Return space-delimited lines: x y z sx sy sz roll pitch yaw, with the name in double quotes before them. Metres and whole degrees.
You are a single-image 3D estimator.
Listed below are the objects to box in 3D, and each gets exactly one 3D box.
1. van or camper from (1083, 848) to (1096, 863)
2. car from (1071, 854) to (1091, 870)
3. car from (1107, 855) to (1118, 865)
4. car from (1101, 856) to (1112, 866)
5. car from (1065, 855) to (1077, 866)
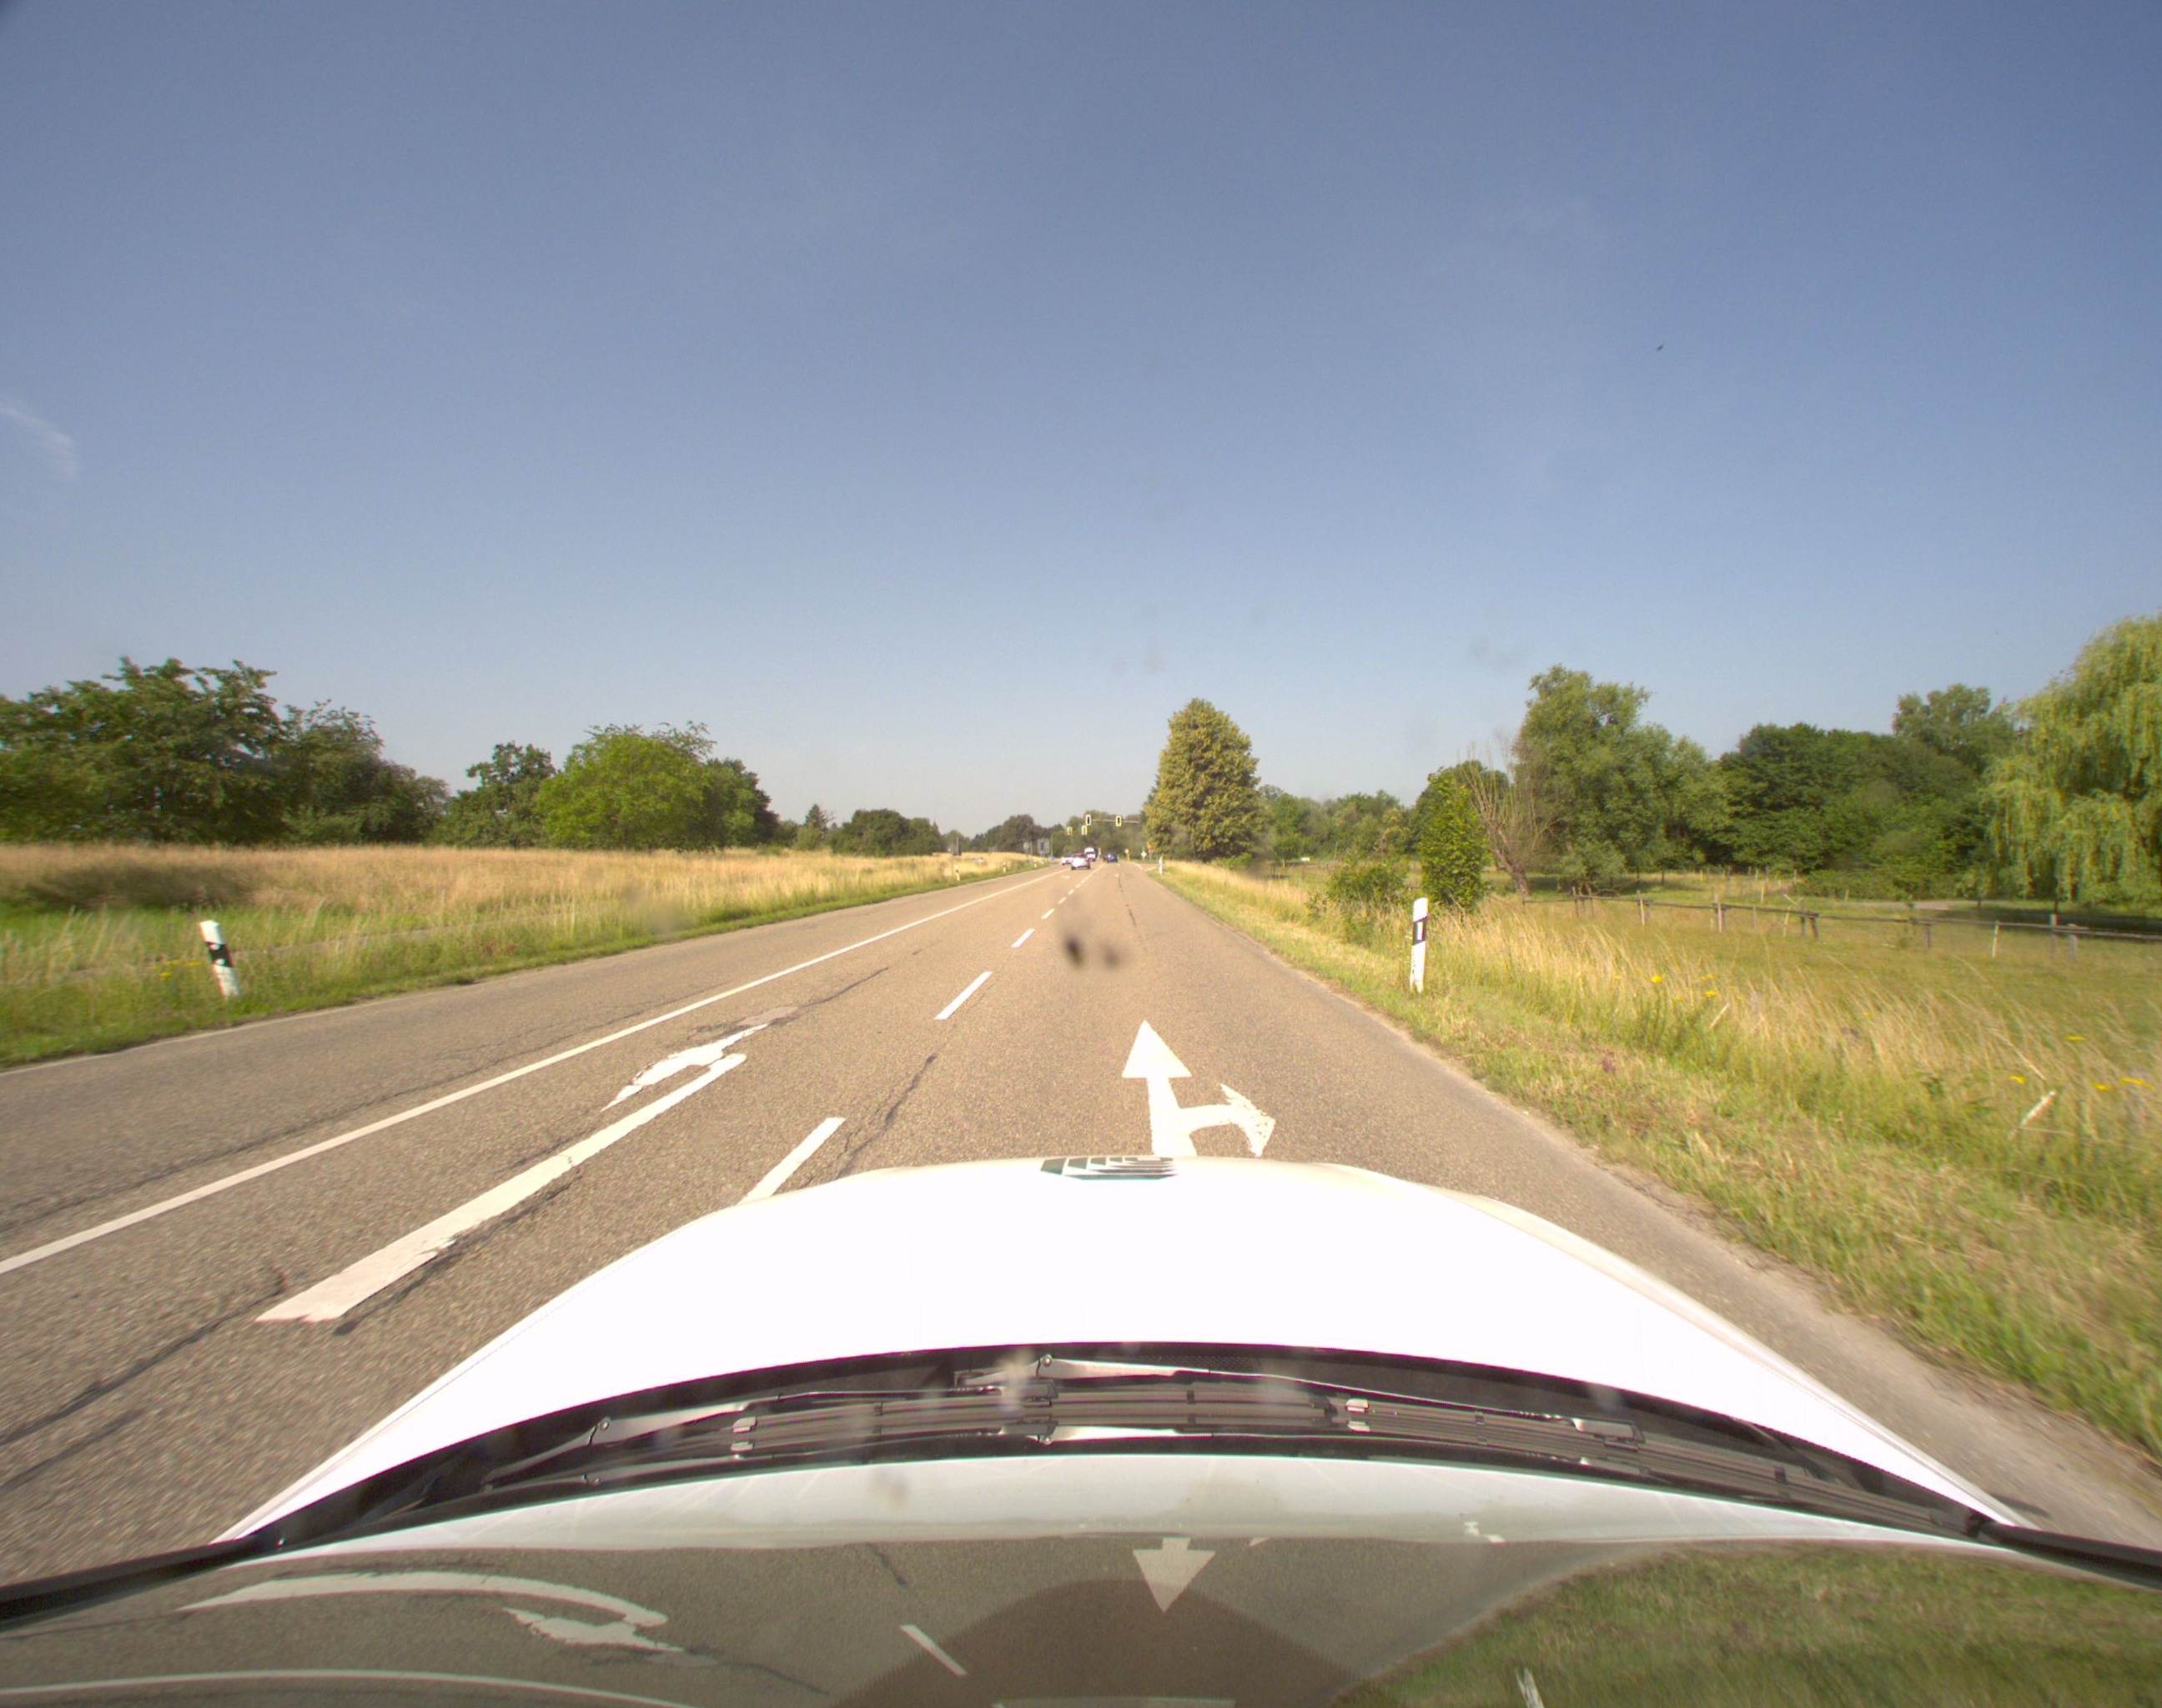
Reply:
"van or camper" 1.637 0.291 161.572 2.255 2.709 5.266 1 0 3
"car" 0.061 0.805 82.651 1.892 1.512 4.001 1 0 1
"car" 5.209 1.013 133.927 1.809 1.520 4.002 1 0 2
"car" 5.043 1.313 160.532 1.986 1.816 4.002 1 0 2
"car" -1.564 1.055 128.489 1.584 1.728 4.005 1 0 5
